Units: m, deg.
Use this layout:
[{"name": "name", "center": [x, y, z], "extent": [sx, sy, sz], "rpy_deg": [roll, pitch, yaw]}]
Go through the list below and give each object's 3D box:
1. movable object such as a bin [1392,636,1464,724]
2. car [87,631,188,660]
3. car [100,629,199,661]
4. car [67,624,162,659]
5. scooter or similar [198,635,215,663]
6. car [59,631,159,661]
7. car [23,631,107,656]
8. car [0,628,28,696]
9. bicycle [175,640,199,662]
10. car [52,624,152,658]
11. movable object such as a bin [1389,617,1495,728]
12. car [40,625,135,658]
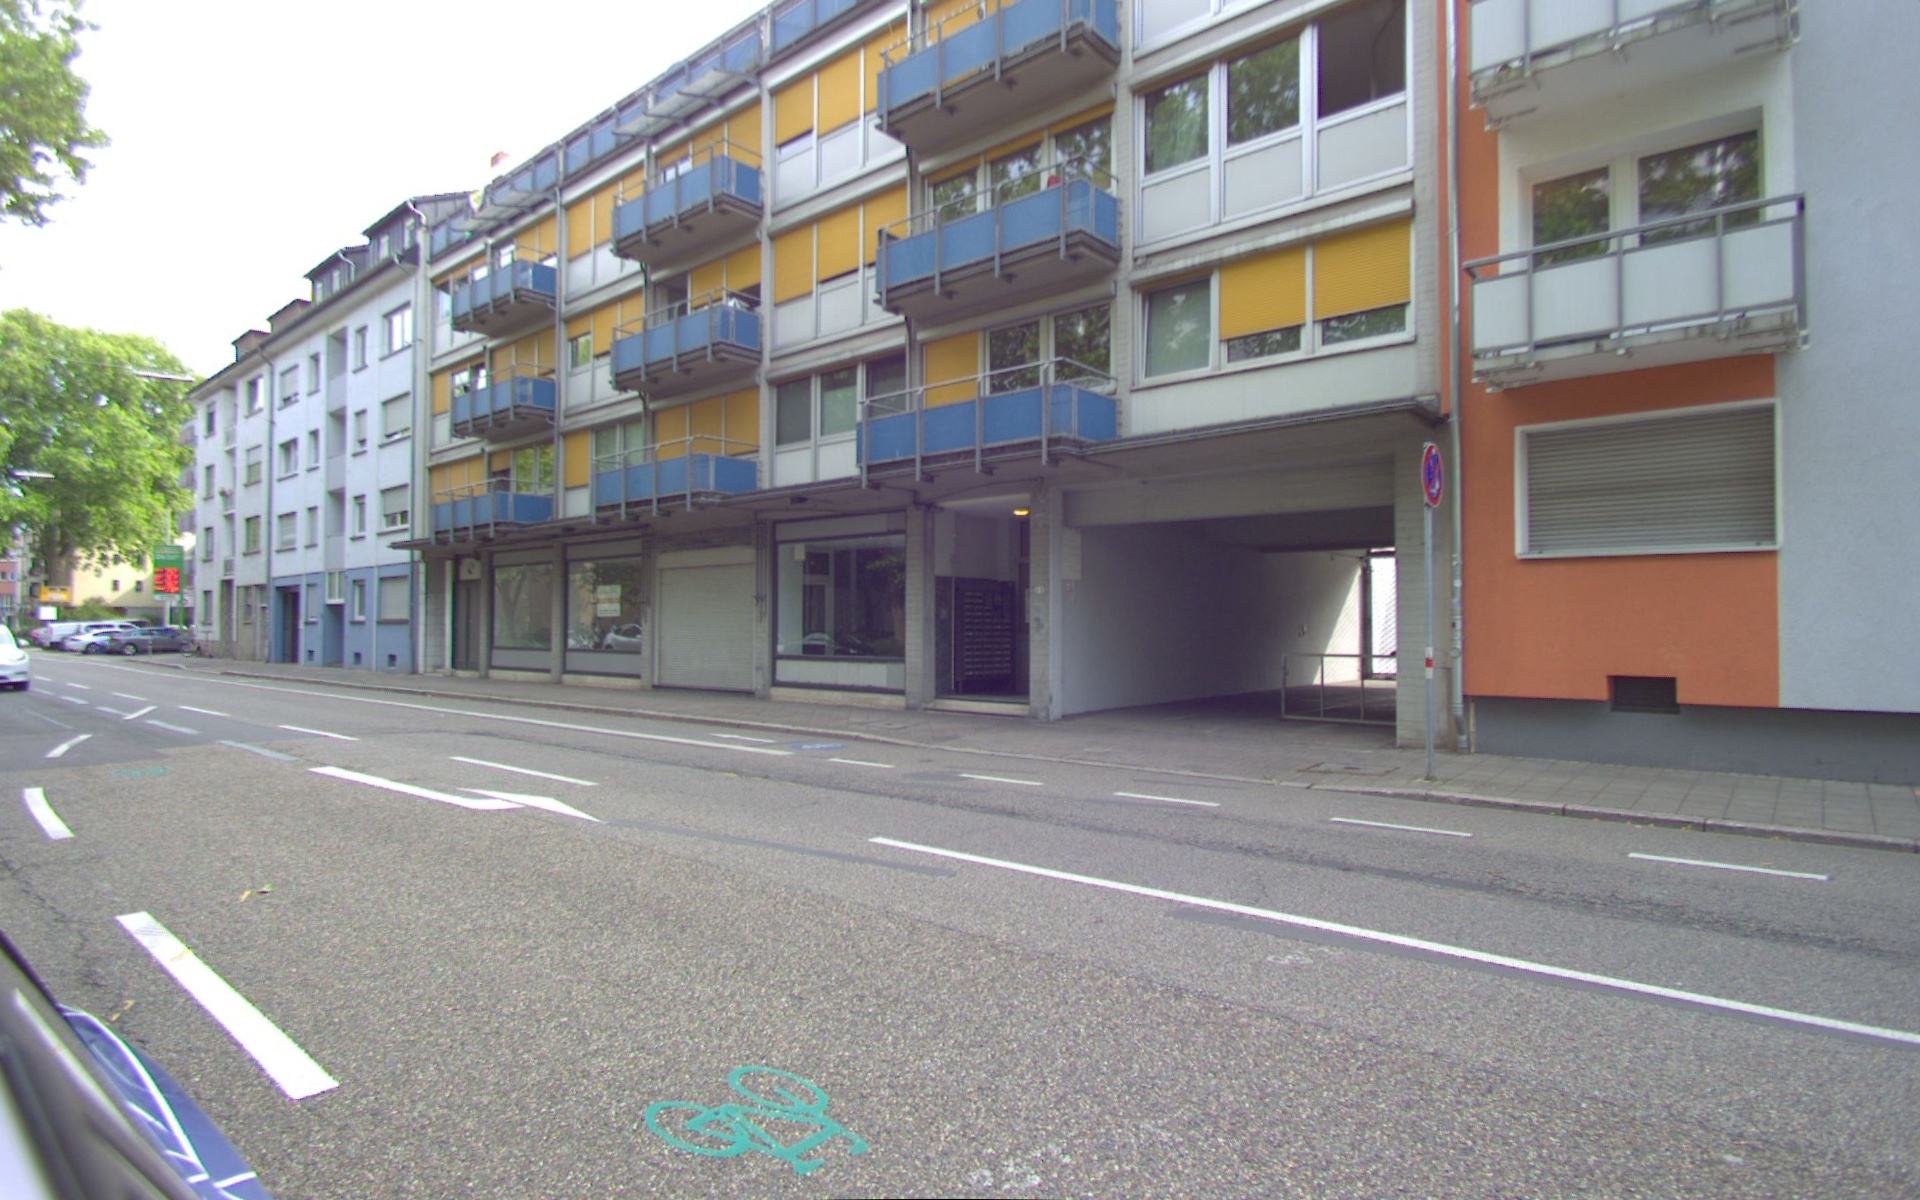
[{"name": "movable object such as a bin", "center": [6.293, 1.059, 13.598], "extent": [0.709, 1.134, 0.635], "rpy_deg": [-2, -2, 42]}, {"name": "car", "center": [-47.267, 2.587, 58.208], "extent": [1.910, 1.462, 4.255], "rpy_deg": [-2, 0, 41]}, {"name": "car", "center": [-45.391, 2.503, 56.743], "extent": [1.836, 1.525, 4.107], "rpy_deg": [-2, 0, 41]}, {"name": "car", "center": [-51.196, 2.501, 61.293], "extent": [1.923, 1.862, 4.167], "rpy_deg": [-2, 0, 41]}, {"name": "scooter or similar", "center": [-33.747, 2.183, 45.317], "extent": [1.201, 1.231, 0.346], "rpy_deg": [-2, -2, 42]}, {"name": "car", "center": [-49.557, 2.650, 58.986], "extent": [1.873, 1.462, 4.226], "rpy_deg": [-2, 0, 41]}, {"name": "car", "center": [-66.422, 3.198, 75.164], "extent": [1.753, 1.618, 4.470], "rpy_deg": [-2, 0, 42]}, {"name": "car", "center": [-24.103, 1.468, 24.431], "extent": [4.550, 1.578, 1.974], "rpy_deg": [-2, -2, 43]}, {"name": "bicycle", "center": [-35.886, 2.359, 46.972], "extent": [1.662, 0.957, 0.591], "rpy_deg": [-2, -2, 42]}, {"name": "car", "center": [-55.993, 2.634, 66.091], "extent": [1.993, 1.949, 4.716], "rpy_deg": [-2, 0, 42]}, {"name": "movable object such as a bin", "center": [6.845, 0.995, 14.371], "extent": [1.053, 1.475, 1.177], "rpy_deg": [-2, -2, 42]}, {"name": "car", "center": [-58.035, 2.738, 67.385], "extent": [1.949, 1.873, 4.567], "rpy_deg": [-2, 0, 42]}]
